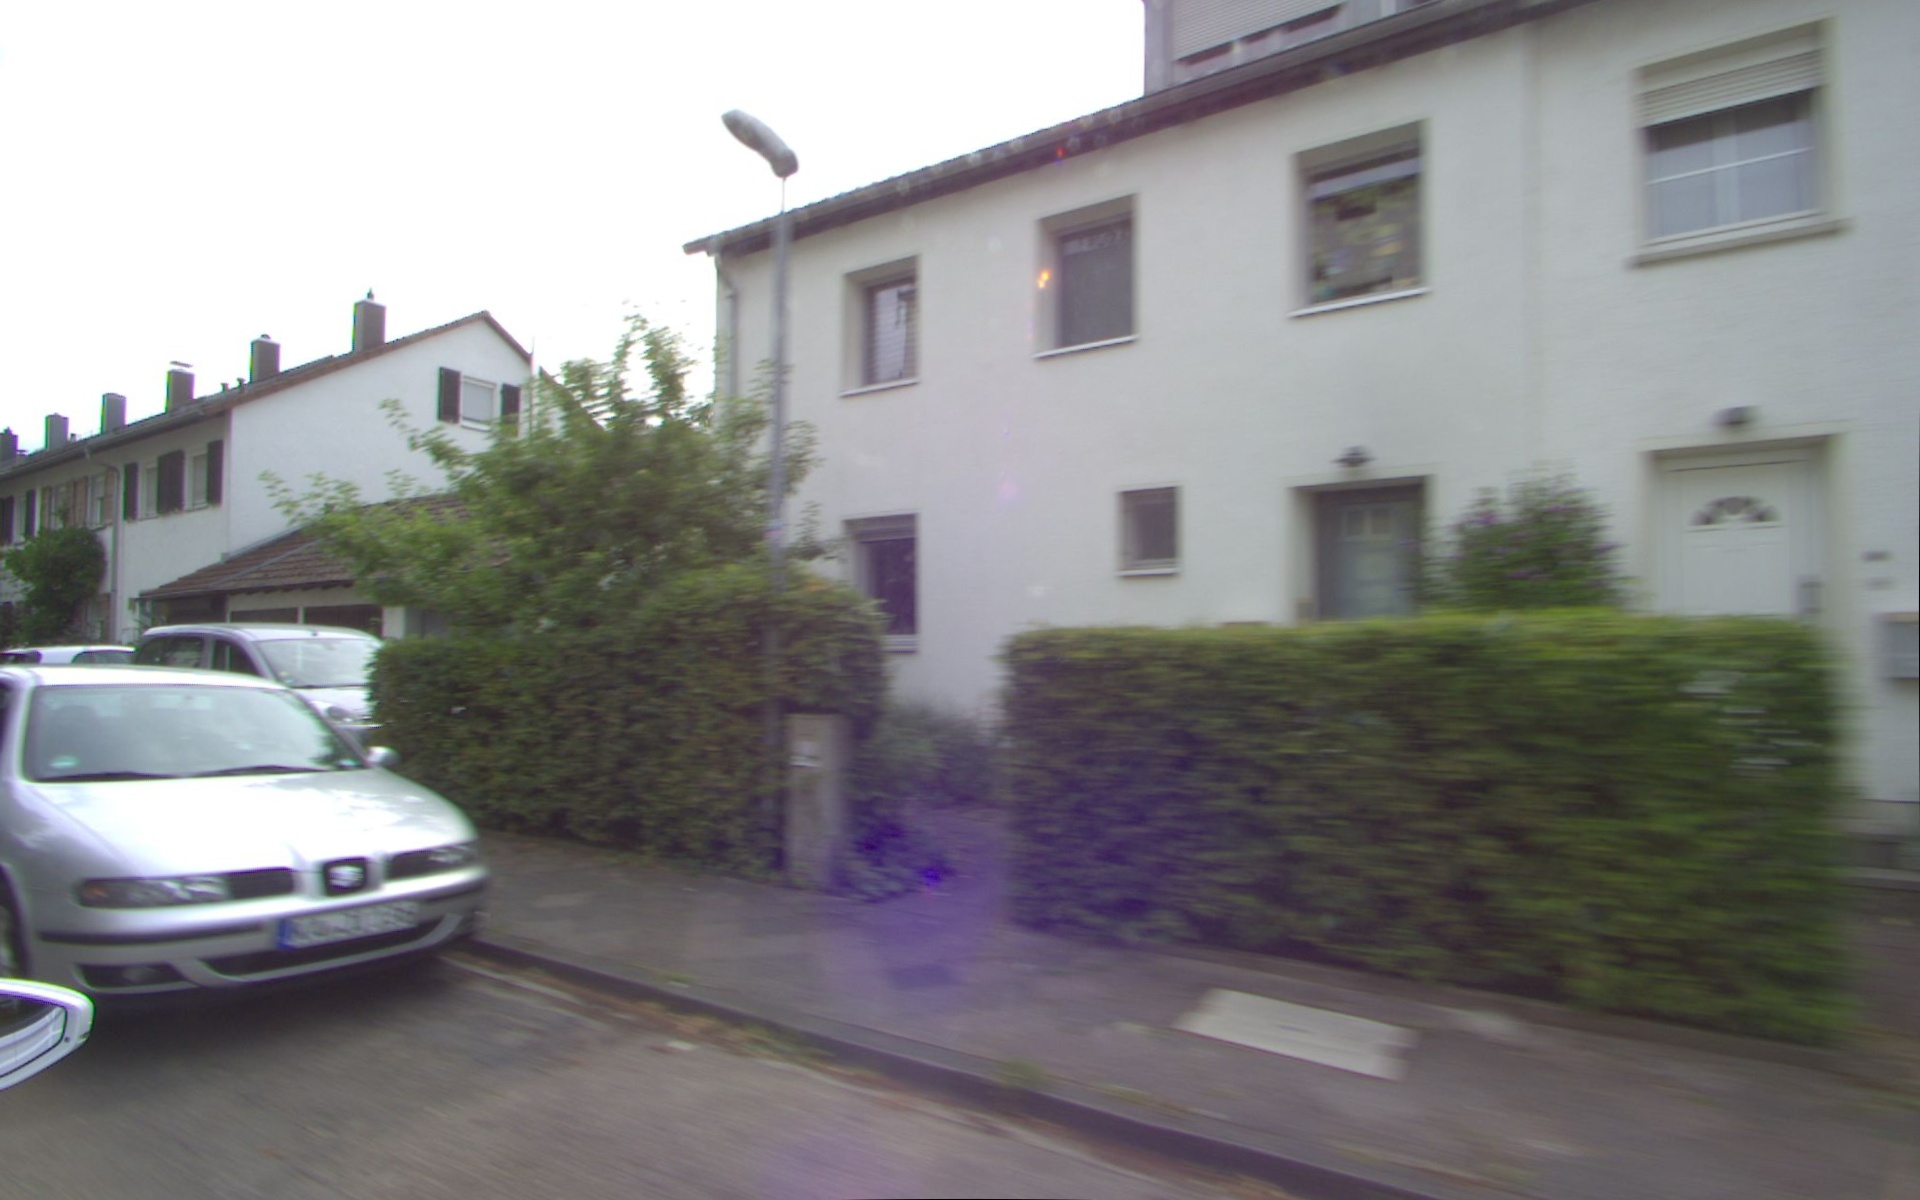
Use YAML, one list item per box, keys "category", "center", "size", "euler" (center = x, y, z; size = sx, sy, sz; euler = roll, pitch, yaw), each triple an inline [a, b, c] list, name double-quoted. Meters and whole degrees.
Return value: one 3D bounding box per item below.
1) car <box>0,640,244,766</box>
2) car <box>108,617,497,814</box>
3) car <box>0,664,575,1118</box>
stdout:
- category: "car"
  center: [-12.449, 1.397, 14.616]
  size: [1.715, 1.589, 2.813]
  euler: [-1, -2, 30]
- category: "car"
  center: [-7.283, 1.142, 11.018]
  size: [4.276, 1.800, 1.823]
  euler: [-2, -1, 29]
- category: "car"
  center: [-4.100, 1.050, 5.106]
  size: [4.271, 1.386, 1.823]
  euler: [-2, -6, 34]
